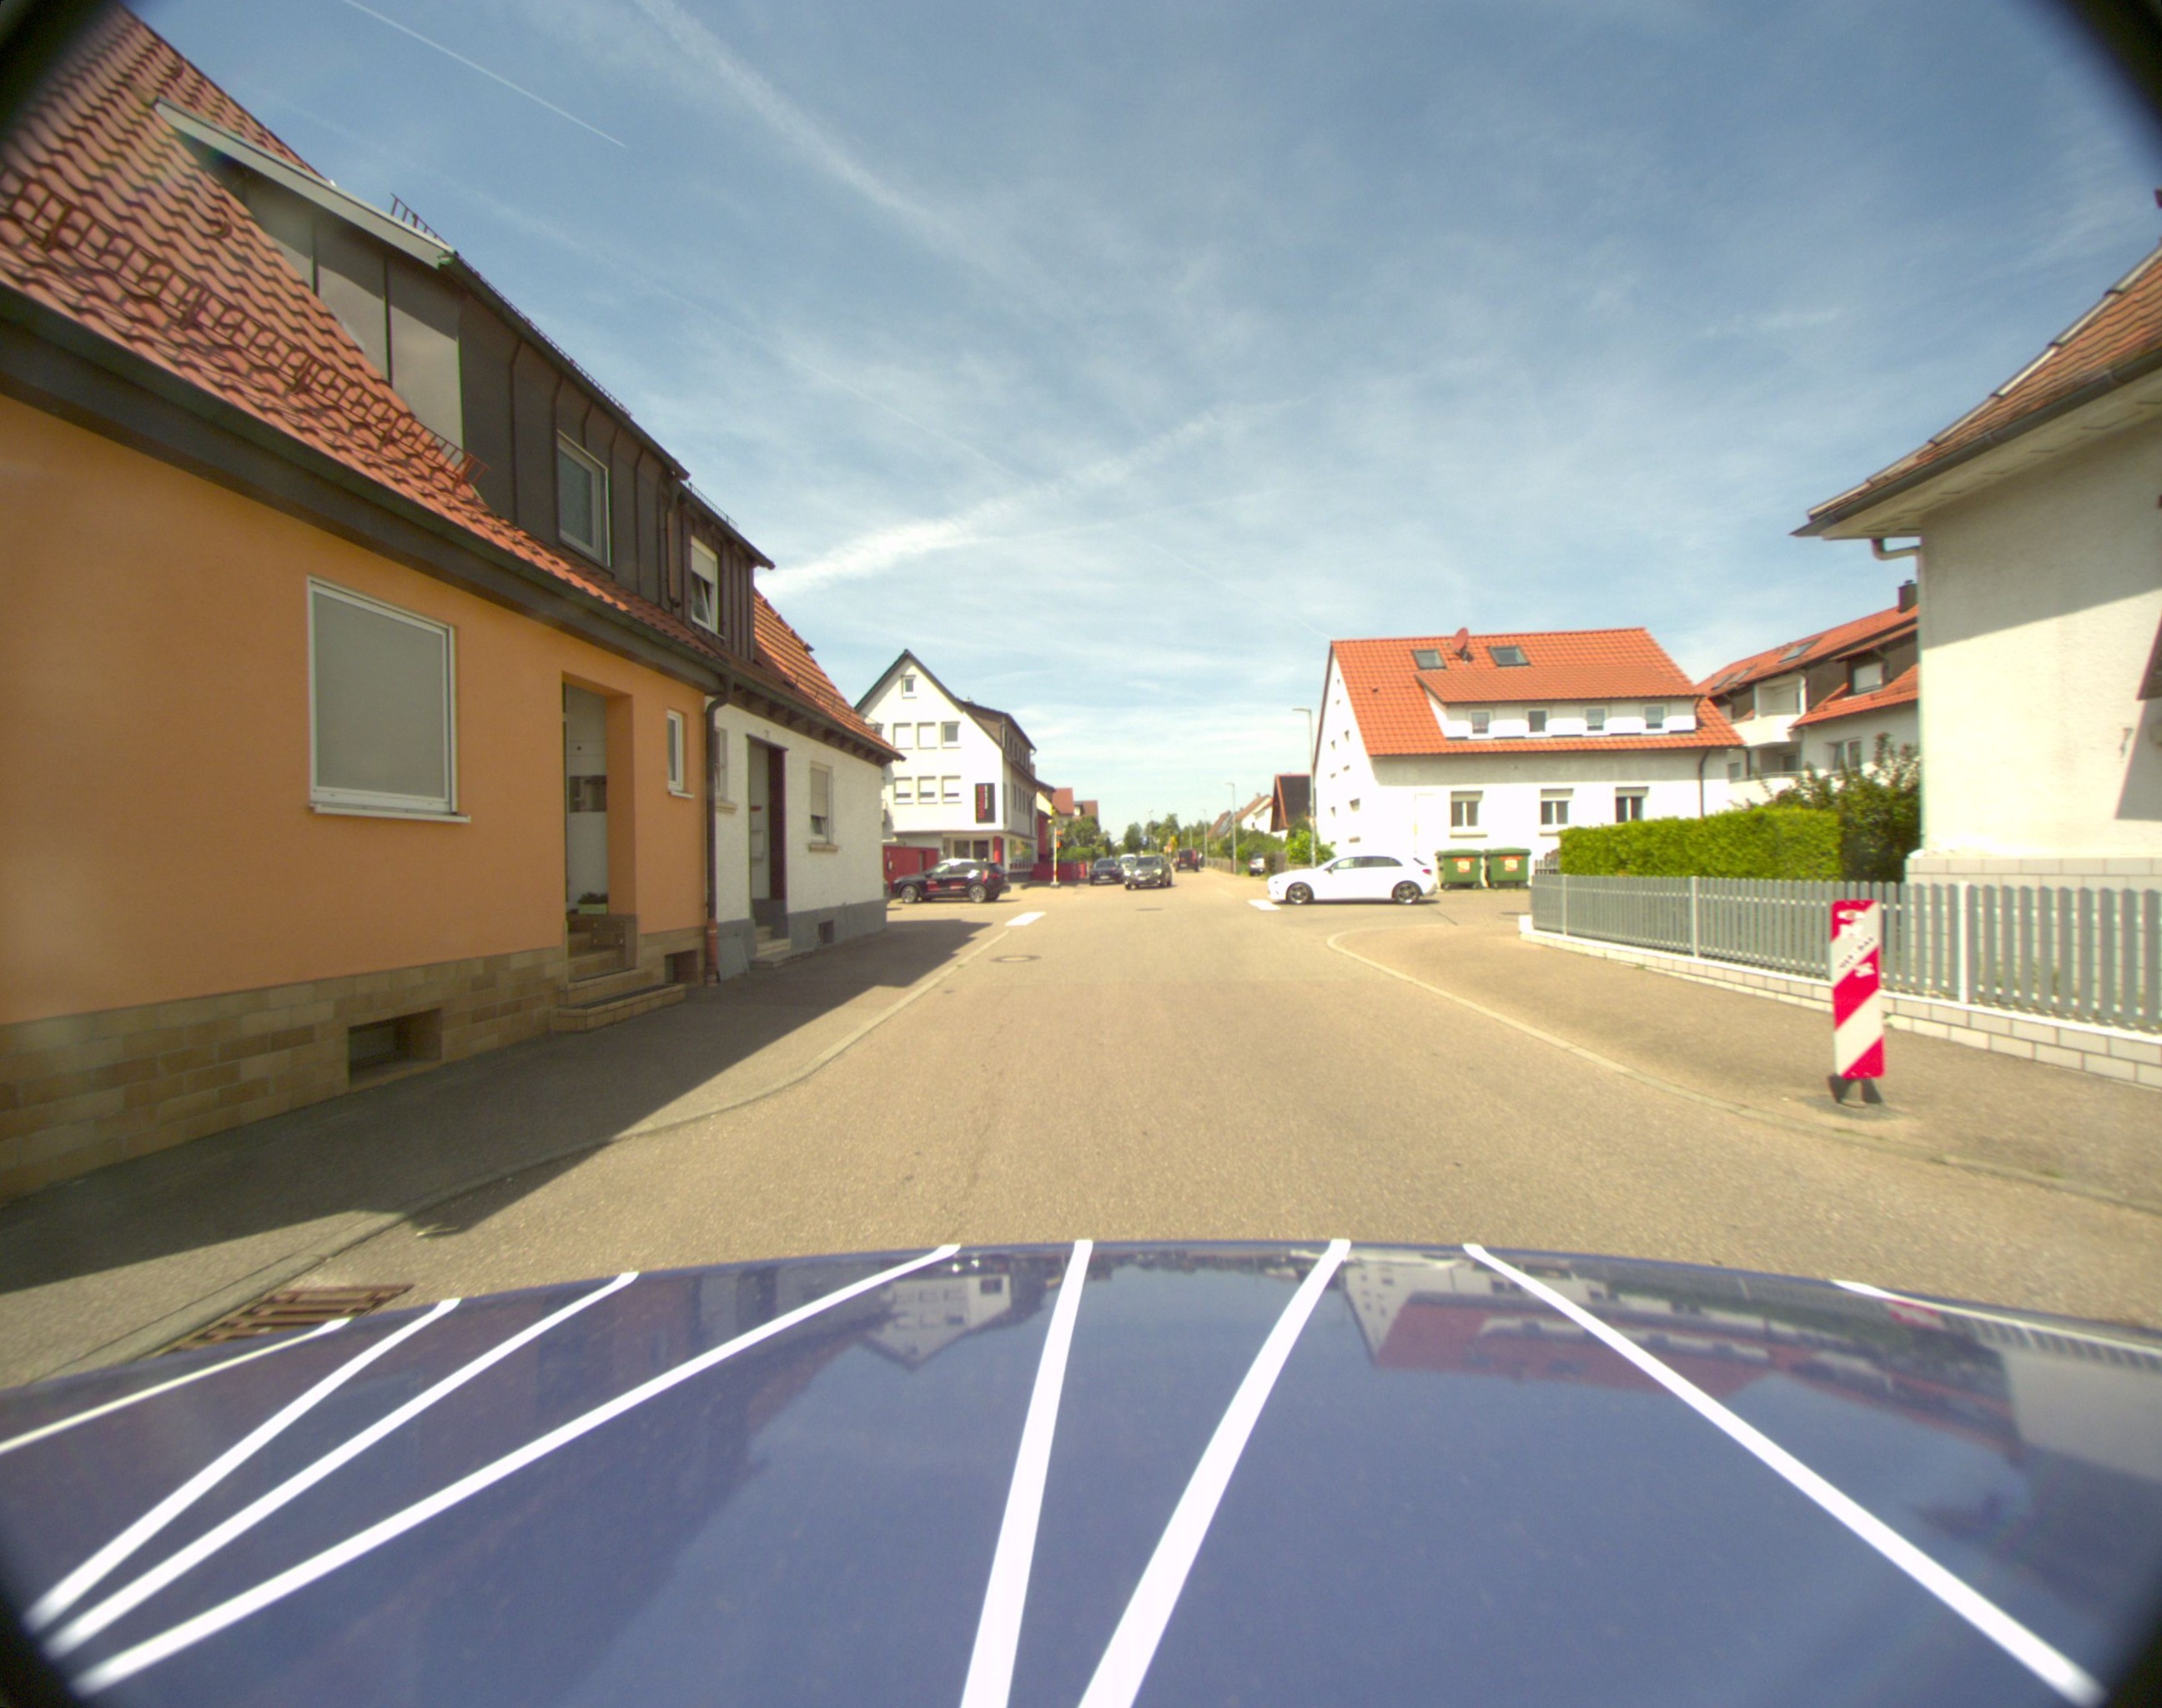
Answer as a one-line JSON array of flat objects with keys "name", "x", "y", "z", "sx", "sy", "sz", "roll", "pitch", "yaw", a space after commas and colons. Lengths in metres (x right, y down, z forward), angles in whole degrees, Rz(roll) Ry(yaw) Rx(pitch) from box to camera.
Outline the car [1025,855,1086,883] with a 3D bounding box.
[{"name": "car", "x": -1.922, "y": 1.140, "z": 58.926, "sx": 4.377, "sy": 1.659, "sz": 1.877, "roll": -7, "pitch": 0, "yaw": 4}]

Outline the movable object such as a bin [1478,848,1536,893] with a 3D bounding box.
[{"name": "movable object such as a bin", "x": 13.409, "y": 0.502, "z": 23.977, "sx": 1.264, "sy": 1.328, "sz": 1.314, "roll": -2, "pitch": 1, "yaw": 14}]

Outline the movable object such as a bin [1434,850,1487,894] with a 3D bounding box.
[{"name": "movable object such as a bin", "x": 12.068, "y": 0.567, "z": 24.224, "sx": 1.264, "sy": 1.306, "sz": 1.167, "roll": -2, "pitch": 1, "yaw": 14}]

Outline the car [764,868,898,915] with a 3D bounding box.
[{"name": "car", "x": -8.517, "y": 1.256, "z": 26.022, "sx": 3.993, "sy": 1.495, "sz": 1.696, "roll": -1, "pitch": -1, "yaw": 11}]

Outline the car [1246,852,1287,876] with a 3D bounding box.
[{"name": "car", "x": 11.786, "y": 0.605, "z": 48.038, "sx": 1.829, "sy": 1.423, "sz": 4.570, "roll": -2, "pitch": 0, "yaw": 22}]

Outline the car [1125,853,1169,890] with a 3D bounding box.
[{"name": "car", "x": 3.238, "y": 0.788, "z": 36.476, "sx": 1.837, "sy": 1.637, "sz": 4.326, "roll": -2, "pitch": 0, "yaw": 8}]

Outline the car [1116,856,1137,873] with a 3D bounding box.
[{"name": "car", "x": 4.192, "y": 0.924, "z": 69.573, "sx": 1.755, "sy": 1.412, "sz": 4.422, "roll": -3, "pitch": 0, "yaw": 5}]

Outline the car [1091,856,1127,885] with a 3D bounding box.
[{"name": "car", "x": 1.719, "y": 0.955, "z": 44.626, "sx": 1.765, "sy": 1.518, "sz": 4.408, "roll": -3, "pitch": 0, "yaw": 6}]

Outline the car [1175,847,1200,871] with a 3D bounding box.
[{"name": "car", "x": 9.305, "y": 0.415, "z": 66.765, "sx": 1.972, "sy": 1.940, "sz": 4.698, "roll": -1, "pitch": 0, "yaw": 6}]

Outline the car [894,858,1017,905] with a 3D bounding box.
[{"name": "car", "x": -4.833, "y": 1.054, "z": 29.537, "sx": 4.301, "sy": 1.643, "sz": 1.849, "roll": -2, "pitch": 0, "yaw": 11}]

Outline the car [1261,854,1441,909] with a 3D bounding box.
[{"name": "car", "x": 7.427, "y": 0.753, "z": 21.167, "sx": 4.485, "sy": 1.390, "sz": 1.932, "roll": -2, "pitch": 0, "yaw": 19}]

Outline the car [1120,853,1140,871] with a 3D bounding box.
[{"name": "car", "x": 4.962, "y": 0.747, "z": 76.005, "sx": 1.739, "sy": 1.652, "sz": 4.338, "roll": -3, "pitch": 0, "yaw": 6}]

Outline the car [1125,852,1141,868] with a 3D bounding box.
[{"name": "car", "x": 6.060, "y": 0.672, "z": 87.909, "sx": 1.669, "sy": 1.739, "sz": 4.057, "roll": -3, "pitch": 0, "yaw": 6}]
